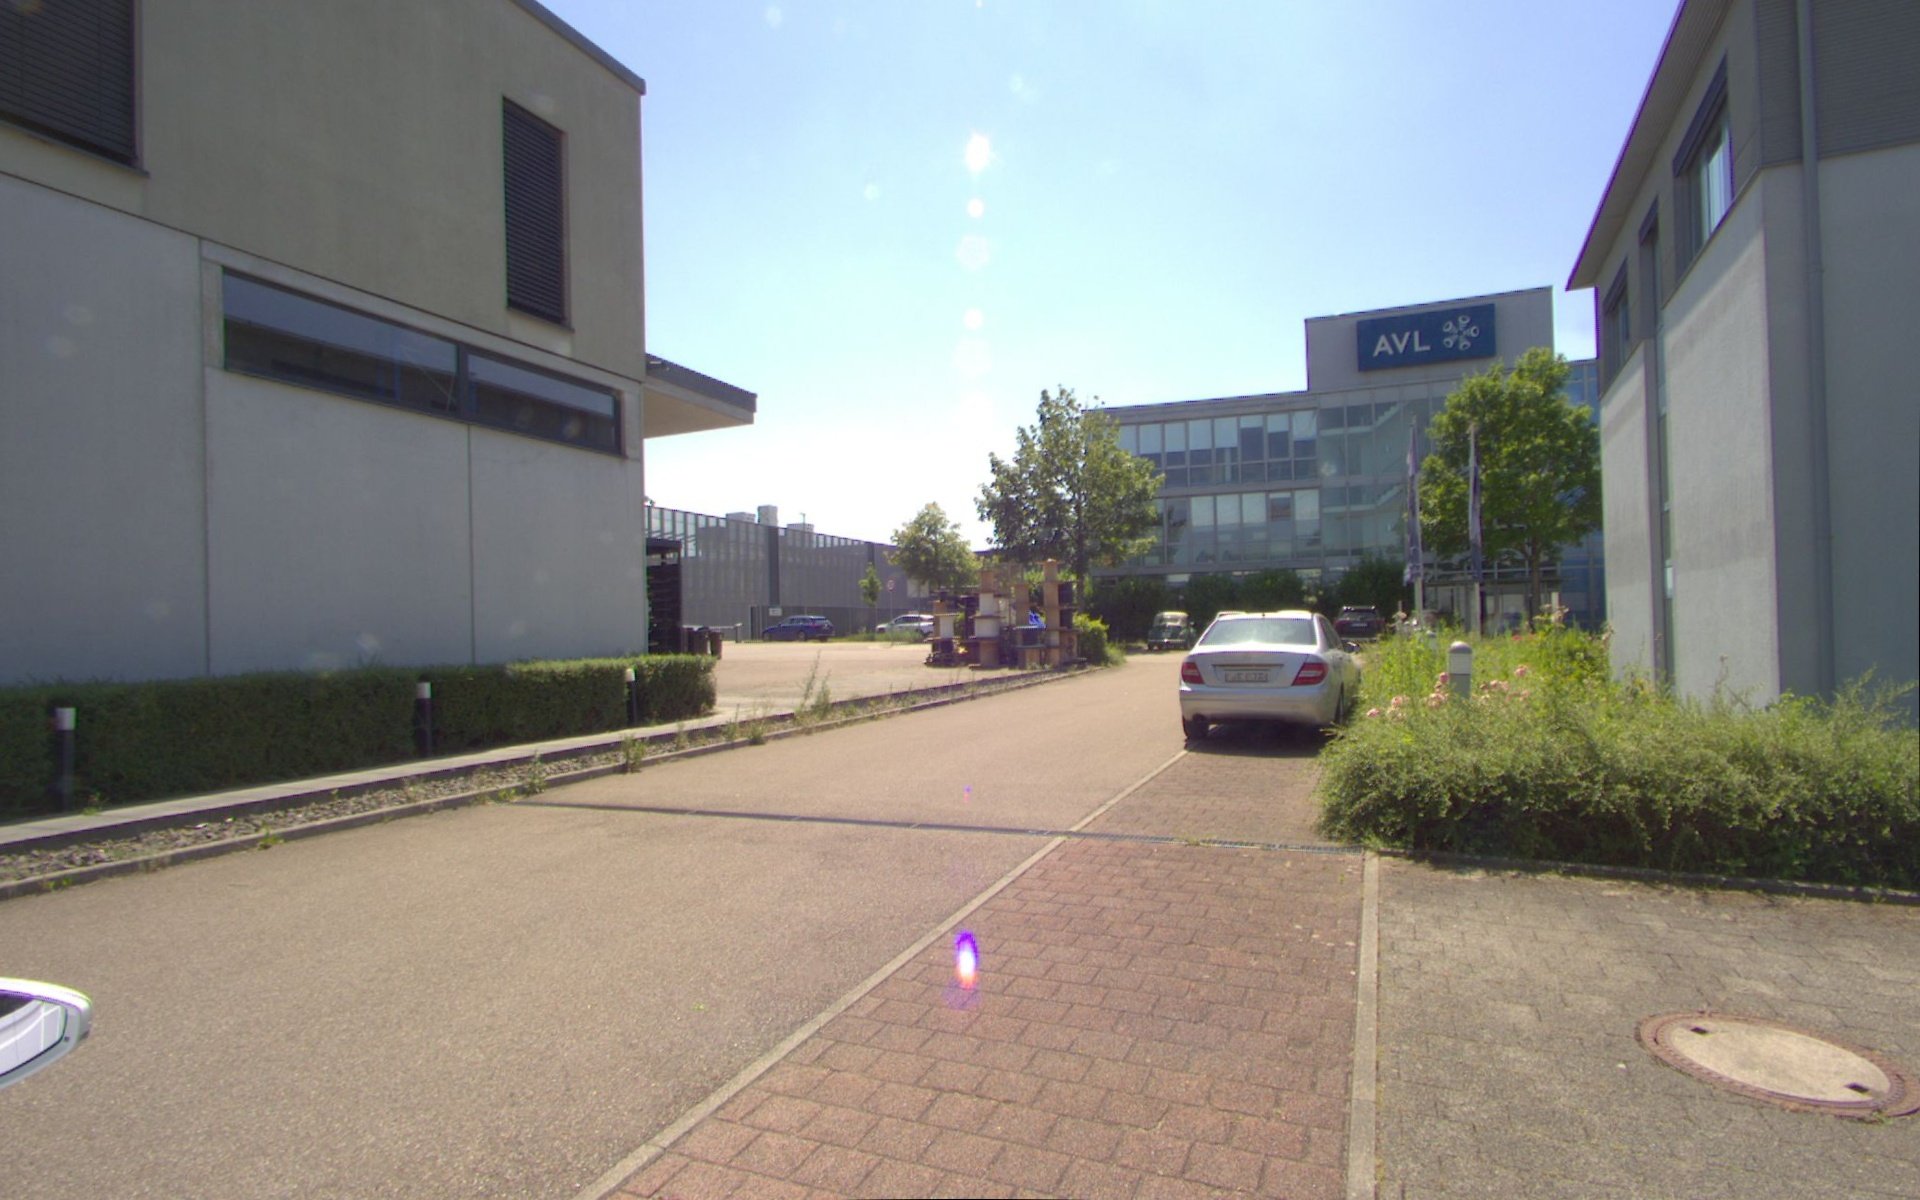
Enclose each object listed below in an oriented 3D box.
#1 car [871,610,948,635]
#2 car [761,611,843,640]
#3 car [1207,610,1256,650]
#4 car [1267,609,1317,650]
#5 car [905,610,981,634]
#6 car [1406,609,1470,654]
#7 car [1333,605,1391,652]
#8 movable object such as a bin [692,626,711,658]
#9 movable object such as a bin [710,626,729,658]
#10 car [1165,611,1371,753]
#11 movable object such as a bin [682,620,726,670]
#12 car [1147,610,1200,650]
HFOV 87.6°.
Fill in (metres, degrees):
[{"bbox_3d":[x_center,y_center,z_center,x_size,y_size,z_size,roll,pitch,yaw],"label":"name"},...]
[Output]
[{"bbox_3d":[-3.258,1.440,63.967,4.792,1.511,1.986,-1,0,37],"label":"car"},{"bbox_3d":[-8.851,1.405,55.985,4.457,1.511,1.986,-1,0,37],"label":"car"},{"bbox_3d":[10.546,1.118,38.736,1.706,1.468,3.648,0,0,17],"label":"car"},{"bbox_3d":[12.757,1.104,38.595,1.739,1.468,3.648,0,0,17],"label":"car"},{"bbox_3d":[-1.155,1.437,66.181,4.792,1.511,1.986,-1,0,37],"label":"car"},{"bbox_3d":[17.267,1.112,36.336,1.745,1.501,4.248,-1,0,21],"label":"car"},{"bbox_3d":[14.870,0.999,37.130,1.900,1.632,3.976,0,0,21],"label":"car"},{"bbox_3d":[-8.475,1.382,32.832,0.571,1.041,0.425,-1,0,-10],"label":"movable object such as a bin"},{"bbox_3d":[-7.897,1.380,32.932,0.568,1.050,0.425,-1,0,-10],"label":"movable object such as a bin"},{"bbox_3d":[3.970,0.883,12.393,1.776,1.416,4.405,-1,-2,26],"label":"car"},{"bbox_3d":[-7.180,1.250,28.067,0.801,1.362,0.880,-1,-1,28],"label":"movable object such as a bin"},{"bbox_3d":[8.428,1.132,39.390,1.520,1.468,3.645,0,0,21],"label":"car"}]
